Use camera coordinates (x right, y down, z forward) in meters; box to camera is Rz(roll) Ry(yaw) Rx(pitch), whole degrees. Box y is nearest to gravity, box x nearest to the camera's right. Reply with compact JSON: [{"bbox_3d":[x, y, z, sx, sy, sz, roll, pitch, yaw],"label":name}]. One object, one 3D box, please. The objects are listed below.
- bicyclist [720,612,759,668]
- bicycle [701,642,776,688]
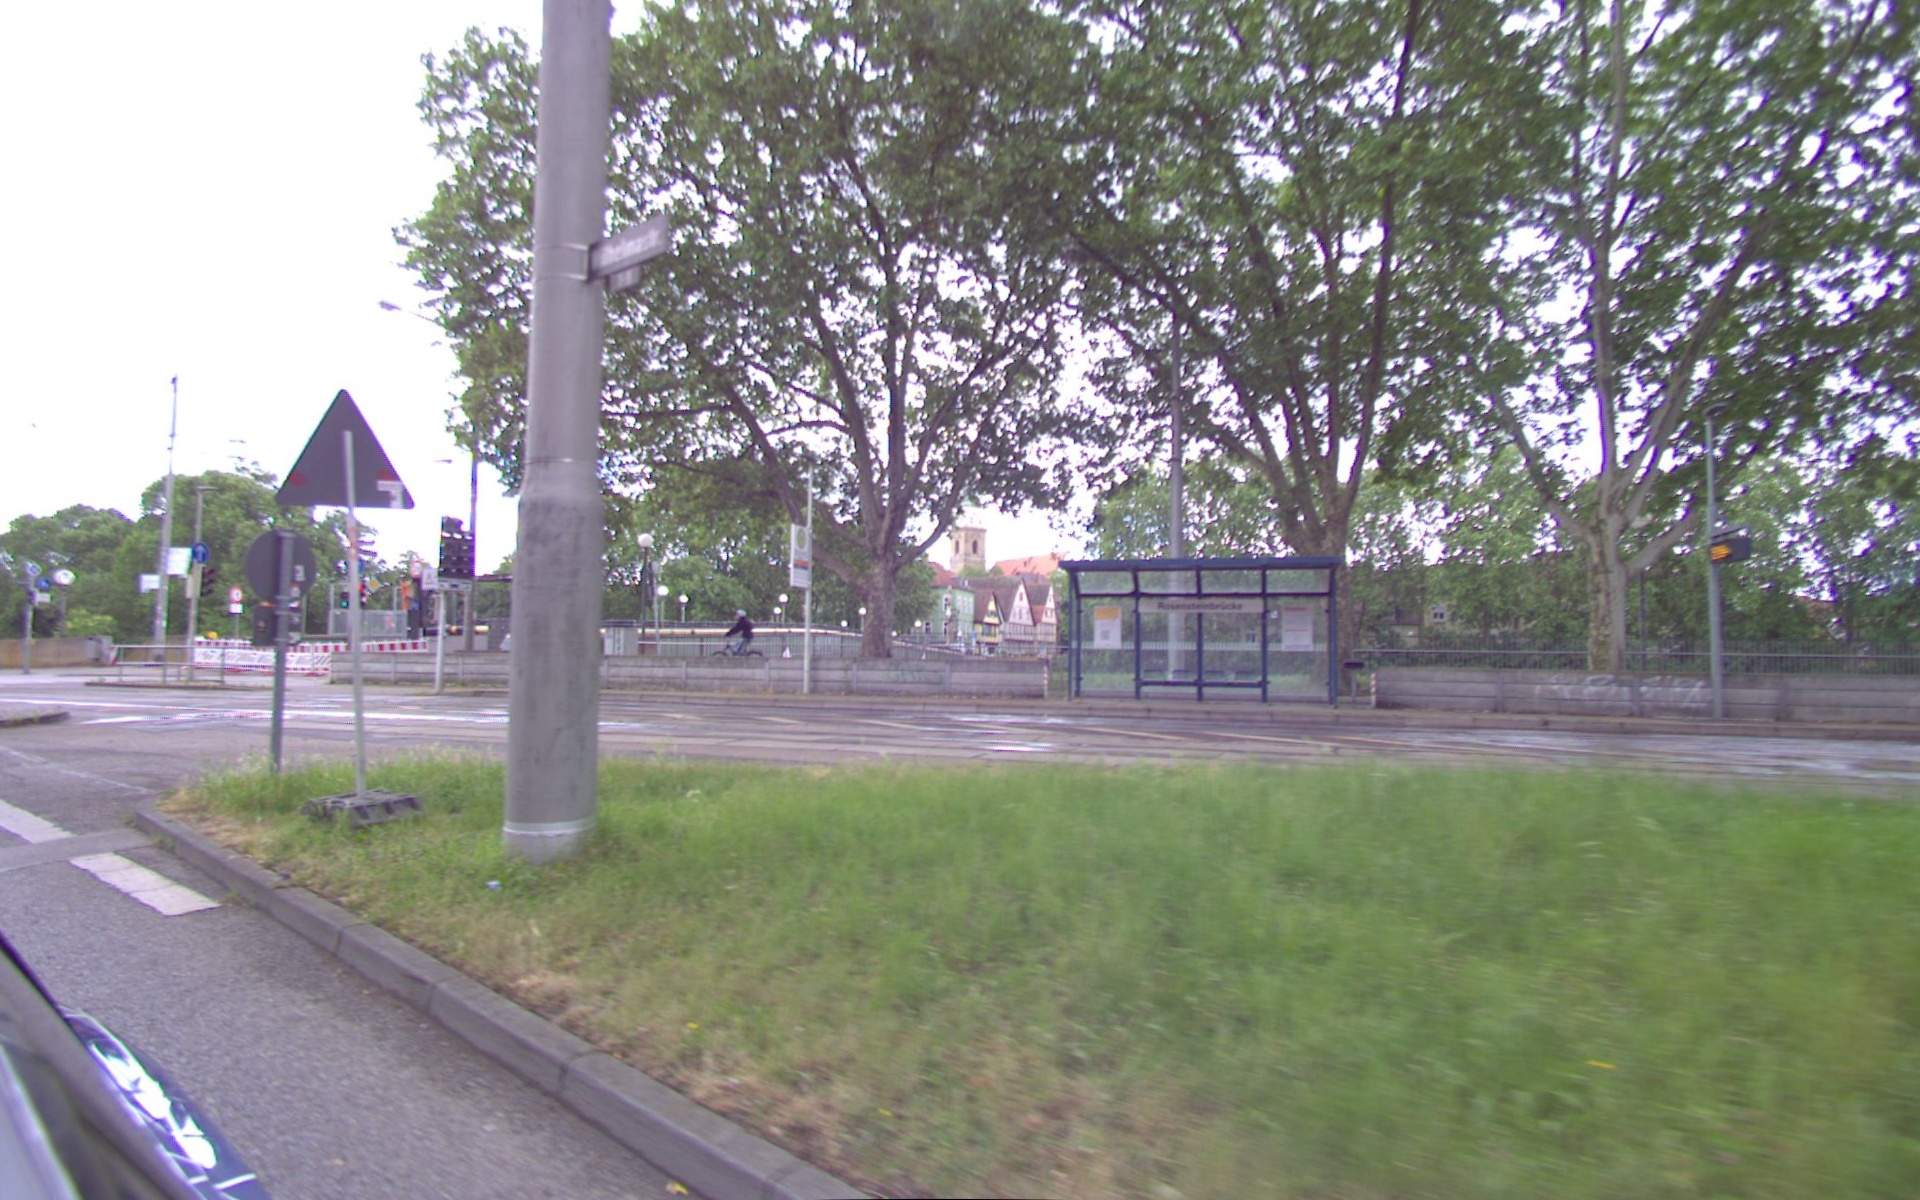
[{"bbox_3d":[-6.670,1.198,30.628,1.001,1.663,0.638,0,0,21],"label":"bicyclist"},{"bbox_3d":[-6.719,1.958,30.703,2.249,1.287,0.686,0,0,22],"label":"bicycle"}]
